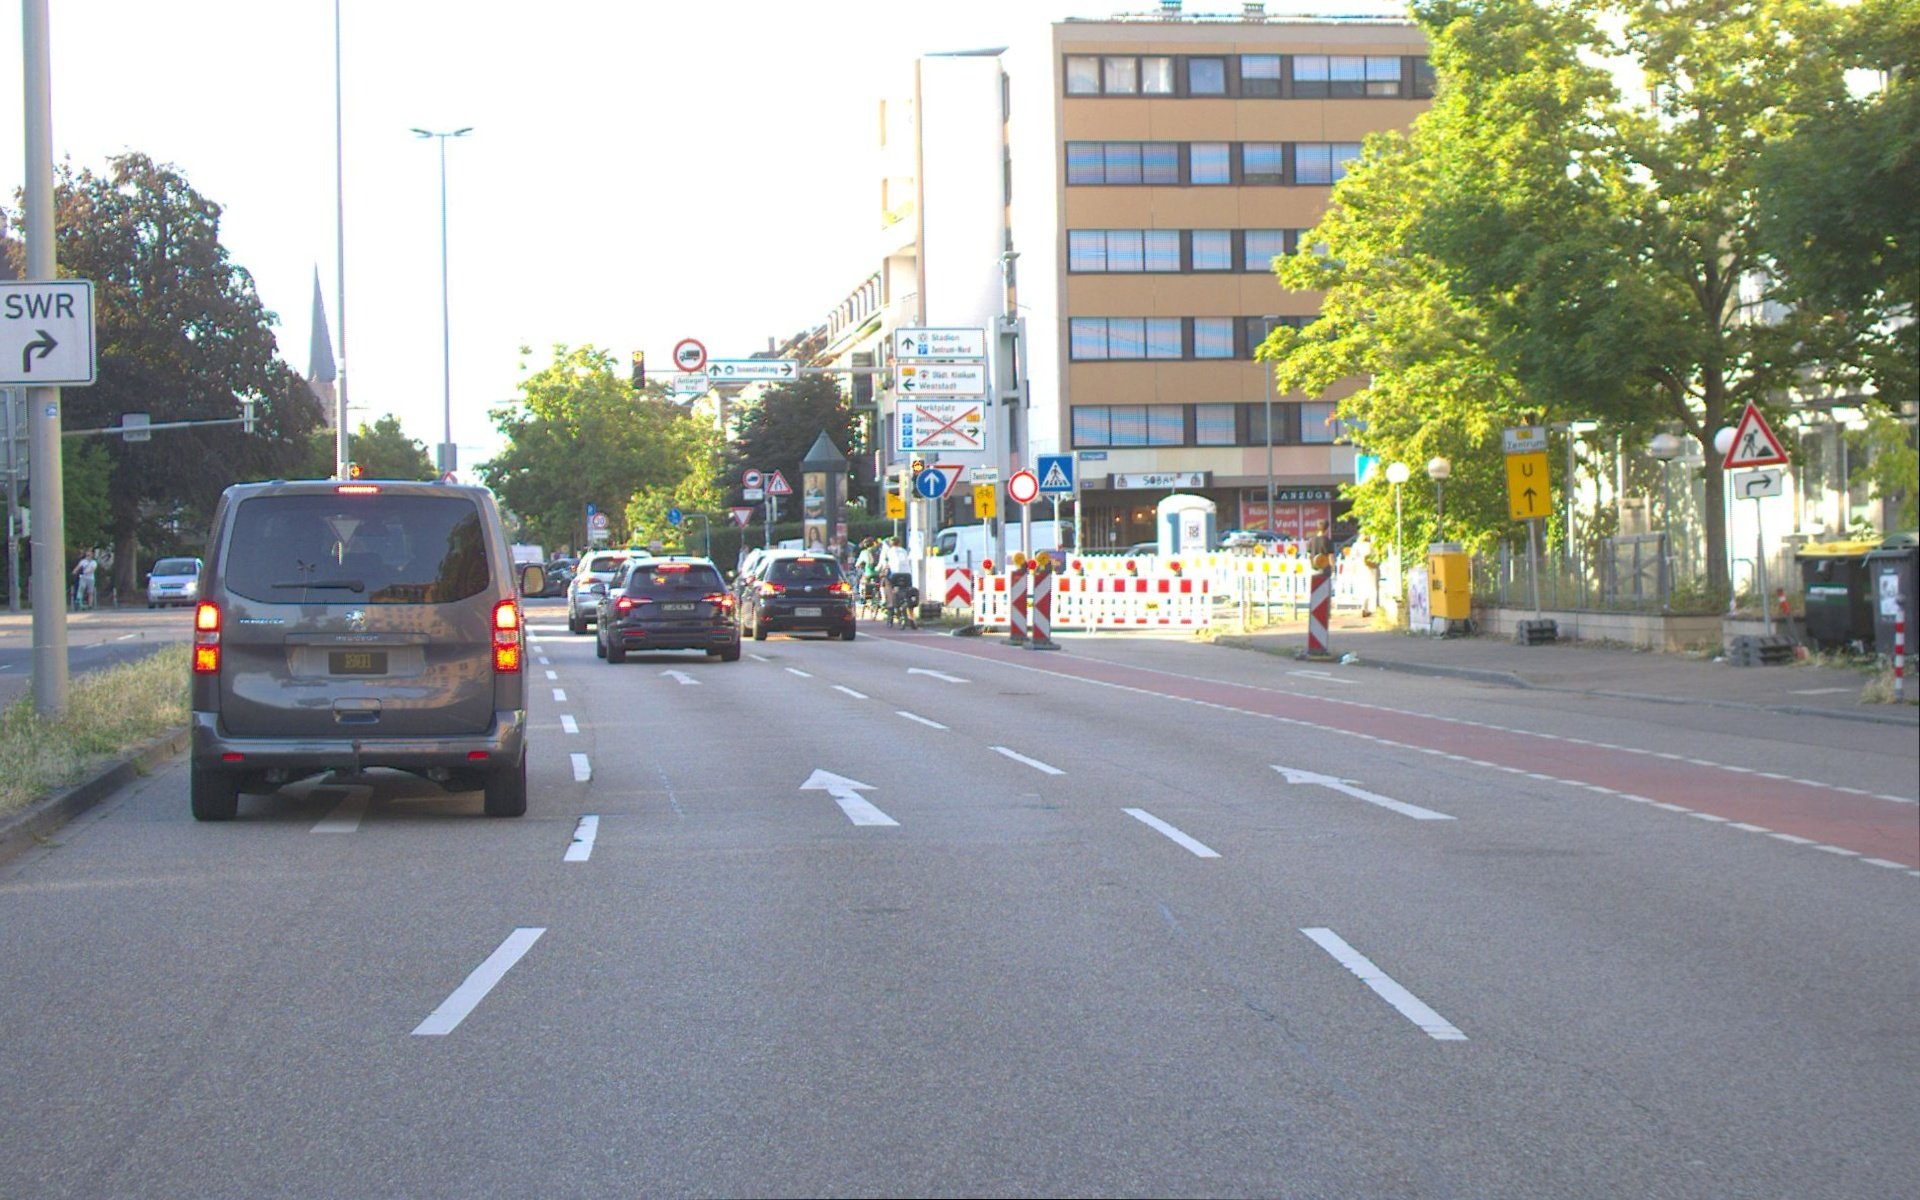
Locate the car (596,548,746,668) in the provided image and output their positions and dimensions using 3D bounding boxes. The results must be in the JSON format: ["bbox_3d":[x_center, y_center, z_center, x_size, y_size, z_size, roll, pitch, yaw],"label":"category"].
[{"bbox_3d":[-3.919,0.080,47.083,1.845,1.539,3.632,-1,1,-2],"label":"car"}]

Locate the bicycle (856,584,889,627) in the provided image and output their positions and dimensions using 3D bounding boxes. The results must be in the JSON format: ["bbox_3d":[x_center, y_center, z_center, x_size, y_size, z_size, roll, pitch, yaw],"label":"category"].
[{"bbox_3d":[-1.790,0.102,69.851,0.533,0.844,1.683,-1,1,-6],"label":"bicycle"}]

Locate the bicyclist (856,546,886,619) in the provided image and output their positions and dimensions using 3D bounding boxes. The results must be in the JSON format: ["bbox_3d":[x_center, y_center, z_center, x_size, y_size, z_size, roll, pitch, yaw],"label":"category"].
[{"bbox_3d":[-1.802,-0.356,69.826,0.541,1.454,0.641,-1,1,-6],"label":"bicyclist"}]

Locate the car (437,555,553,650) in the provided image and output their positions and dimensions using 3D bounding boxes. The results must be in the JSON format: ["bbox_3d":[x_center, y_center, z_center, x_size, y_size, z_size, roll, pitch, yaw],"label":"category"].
[{"bbox_3d":[-8.657,0.019,63.712,1.993,1.651,4.300,-1,1,-9],"label":"car"}]

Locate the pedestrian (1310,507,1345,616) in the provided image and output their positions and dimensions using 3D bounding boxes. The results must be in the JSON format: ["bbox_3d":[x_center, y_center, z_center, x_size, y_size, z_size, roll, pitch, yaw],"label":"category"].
[{"bbox_3d":[6.820,-0.712,63.812,0.490,2.007,0.664,-1,1,-7],"label":"pedestrian"}]

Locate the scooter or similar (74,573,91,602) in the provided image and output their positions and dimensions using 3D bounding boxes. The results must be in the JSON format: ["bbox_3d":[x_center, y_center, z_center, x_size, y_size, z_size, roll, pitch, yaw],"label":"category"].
[{"bbox_3d":[-26.863,-0.385,105.206,0.357,0.892,0.904,-1,1,-6],"label":"scooter or similar"}]

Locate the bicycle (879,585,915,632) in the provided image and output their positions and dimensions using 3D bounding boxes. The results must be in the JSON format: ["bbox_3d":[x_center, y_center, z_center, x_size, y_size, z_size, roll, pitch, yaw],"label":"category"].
[{"bbox_3d":[-1.196,0.160,65.058,0.533,0.844,1.683,-1,1,-6],"label":"bicycle"}]

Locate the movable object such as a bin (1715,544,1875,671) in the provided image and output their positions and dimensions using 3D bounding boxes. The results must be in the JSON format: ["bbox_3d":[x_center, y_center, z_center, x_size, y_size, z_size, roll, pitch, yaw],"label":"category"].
[{"bbox_3d":[9.488,0.075,39.125,1.463,1.381,1.547,-1,1,2],"label":"movable object such as a bin"}]

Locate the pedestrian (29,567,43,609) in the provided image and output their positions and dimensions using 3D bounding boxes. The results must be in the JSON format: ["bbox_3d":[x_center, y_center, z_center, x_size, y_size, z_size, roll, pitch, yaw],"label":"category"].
[{"bbox_3d":[-28.658,-0.384,106.635,0.354,1.286,0.379,-1,1,-6],"label":"pedestrian"}]

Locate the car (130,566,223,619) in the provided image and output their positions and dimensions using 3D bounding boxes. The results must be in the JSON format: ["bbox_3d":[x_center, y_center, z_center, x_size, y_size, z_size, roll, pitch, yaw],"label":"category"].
[{"bbox_3d":[-25.027,-0.263,109.922,1.993,1.590,4.000,-1,1,0],"label":"car"}]

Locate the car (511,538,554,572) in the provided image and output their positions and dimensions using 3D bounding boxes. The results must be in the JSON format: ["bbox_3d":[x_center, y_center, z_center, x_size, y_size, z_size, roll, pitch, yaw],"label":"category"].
[{"bbox_3d":[-21.803,-2.308,175.308,1.848,1.702,3.726,-1,1,-11],"label":"car"}]

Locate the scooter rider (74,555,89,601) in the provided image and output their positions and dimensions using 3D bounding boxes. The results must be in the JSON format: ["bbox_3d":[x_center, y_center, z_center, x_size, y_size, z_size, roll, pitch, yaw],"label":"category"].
[{"bbox_3d":[-26.867,-0.675,105.150,0.355,1.368,0.337,-1,1,-6],"label":"scooter rider"}]

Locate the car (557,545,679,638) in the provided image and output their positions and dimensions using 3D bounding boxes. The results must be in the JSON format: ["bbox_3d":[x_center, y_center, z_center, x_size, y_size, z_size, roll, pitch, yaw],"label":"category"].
[{"bbox_3d":[-6.451,-0.190,64.497,1.993,1.651,4.300,-1,1,-9],"label":"car"}]

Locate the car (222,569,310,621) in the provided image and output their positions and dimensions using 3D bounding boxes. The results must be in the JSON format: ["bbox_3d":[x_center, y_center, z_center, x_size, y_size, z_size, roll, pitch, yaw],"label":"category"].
[{"bbox_3d":[-22.281,-0.169,110.483,1.993,1.590,4.000,-1,1,0],"label":"car"}]

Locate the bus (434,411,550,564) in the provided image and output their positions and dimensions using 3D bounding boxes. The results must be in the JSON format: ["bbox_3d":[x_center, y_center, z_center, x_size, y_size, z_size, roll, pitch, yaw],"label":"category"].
[{"bbox_3d":[-14.915,-3.447,108.932,3.289,4.601,10.003,0,1,-10],"label":"bus"}]

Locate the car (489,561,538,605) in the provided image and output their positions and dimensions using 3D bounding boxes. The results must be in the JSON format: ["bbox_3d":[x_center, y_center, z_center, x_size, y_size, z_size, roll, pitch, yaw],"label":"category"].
[{"bbox_3d":[-16.994,-0.662,130.971,1.741,1.581,4.001,-1,1,-6],"label":"car"}]

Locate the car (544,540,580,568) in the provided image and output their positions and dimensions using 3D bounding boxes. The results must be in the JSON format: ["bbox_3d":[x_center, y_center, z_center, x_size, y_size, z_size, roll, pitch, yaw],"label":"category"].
[{"bbox_3d":[-24.590,-2.848,212.342,1.848,1.702,3.726,-1,1,-11],"label":"car"}]

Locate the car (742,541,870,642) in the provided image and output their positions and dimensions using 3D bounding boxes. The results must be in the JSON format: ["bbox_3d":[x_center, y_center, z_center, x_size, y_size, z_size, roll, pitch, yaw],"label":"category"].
[{"bbox_3d":[-2.707,-0.172,59.656,1.993,1.651,4.300,-1,1,-5],"label":"car"}]

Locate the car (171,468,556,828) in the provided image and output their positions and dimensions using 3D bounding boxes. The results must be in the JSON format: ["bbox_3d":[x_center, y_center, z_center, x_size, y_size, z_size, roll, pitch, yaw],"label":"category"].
[{"bbox_3d":[-3.536,0.207,20.566,1.993,1.894,4.300,1,1,-9],"label":"car"}]

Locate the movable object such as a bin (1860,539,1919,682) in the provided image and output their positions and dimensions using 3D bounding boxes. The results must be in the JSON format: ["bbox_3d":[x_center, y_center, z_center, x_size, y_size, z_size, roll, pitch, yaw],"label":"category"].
[{"bbox_3d":[10.277,0.084,35.731,1.463,1.449,1.547,-1,1,2],"label":"movable object such as a bin"}]

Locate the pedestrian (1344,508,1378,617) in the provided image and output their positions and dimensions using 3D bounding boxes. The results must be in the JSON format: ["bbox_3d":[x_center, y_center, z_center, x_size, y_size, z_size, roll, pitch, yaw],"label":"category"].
[{"bbox_3d":[7.442,-0.692,63.832,0.490,2.007,0.664,-1,1,-3],"label":"pedestrian"}]

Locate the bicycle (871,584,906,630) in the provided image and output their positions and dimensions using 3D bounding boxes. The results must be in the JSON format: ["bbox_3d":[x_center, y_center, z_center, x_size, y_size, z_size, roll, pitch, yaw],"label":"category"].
[{"bbox_3d":[-1.399,0.131,67.287,0.533,0.844,1.683,-1,1,-6],"label":"bicycle"}]

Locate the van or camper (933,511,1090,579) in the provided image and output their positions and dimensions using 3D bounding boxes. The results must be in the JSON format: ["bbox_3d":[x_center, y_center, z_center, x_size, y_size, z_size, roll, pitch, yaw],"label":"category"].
[{"bbox_3d":[1.610,-1.723,107.459,4.567,2.007,1.999,-1,1,13],"label":"van or camper"}]

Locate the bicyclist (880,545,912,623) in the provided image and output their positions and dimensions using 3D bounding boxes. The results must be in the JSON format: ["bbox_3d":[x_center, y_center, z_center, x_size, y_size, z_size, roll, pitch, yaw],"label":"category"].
[{"bbox_3d":[-1.215,-0.306,65.100,0.541,1.454,0.641,-1,1,-6],"label":"bicyclist"}]

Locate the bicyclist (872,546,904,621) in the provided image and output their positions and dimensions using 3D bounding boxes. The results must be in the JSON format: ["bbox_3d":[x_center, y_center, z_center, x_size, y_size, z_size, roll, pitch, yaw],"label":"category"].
[{"bbox_3d":[-1.411,-0.330,67.256,0.541,1.454,0.641,-1,1,-6],"label":"bicyclist"}]
